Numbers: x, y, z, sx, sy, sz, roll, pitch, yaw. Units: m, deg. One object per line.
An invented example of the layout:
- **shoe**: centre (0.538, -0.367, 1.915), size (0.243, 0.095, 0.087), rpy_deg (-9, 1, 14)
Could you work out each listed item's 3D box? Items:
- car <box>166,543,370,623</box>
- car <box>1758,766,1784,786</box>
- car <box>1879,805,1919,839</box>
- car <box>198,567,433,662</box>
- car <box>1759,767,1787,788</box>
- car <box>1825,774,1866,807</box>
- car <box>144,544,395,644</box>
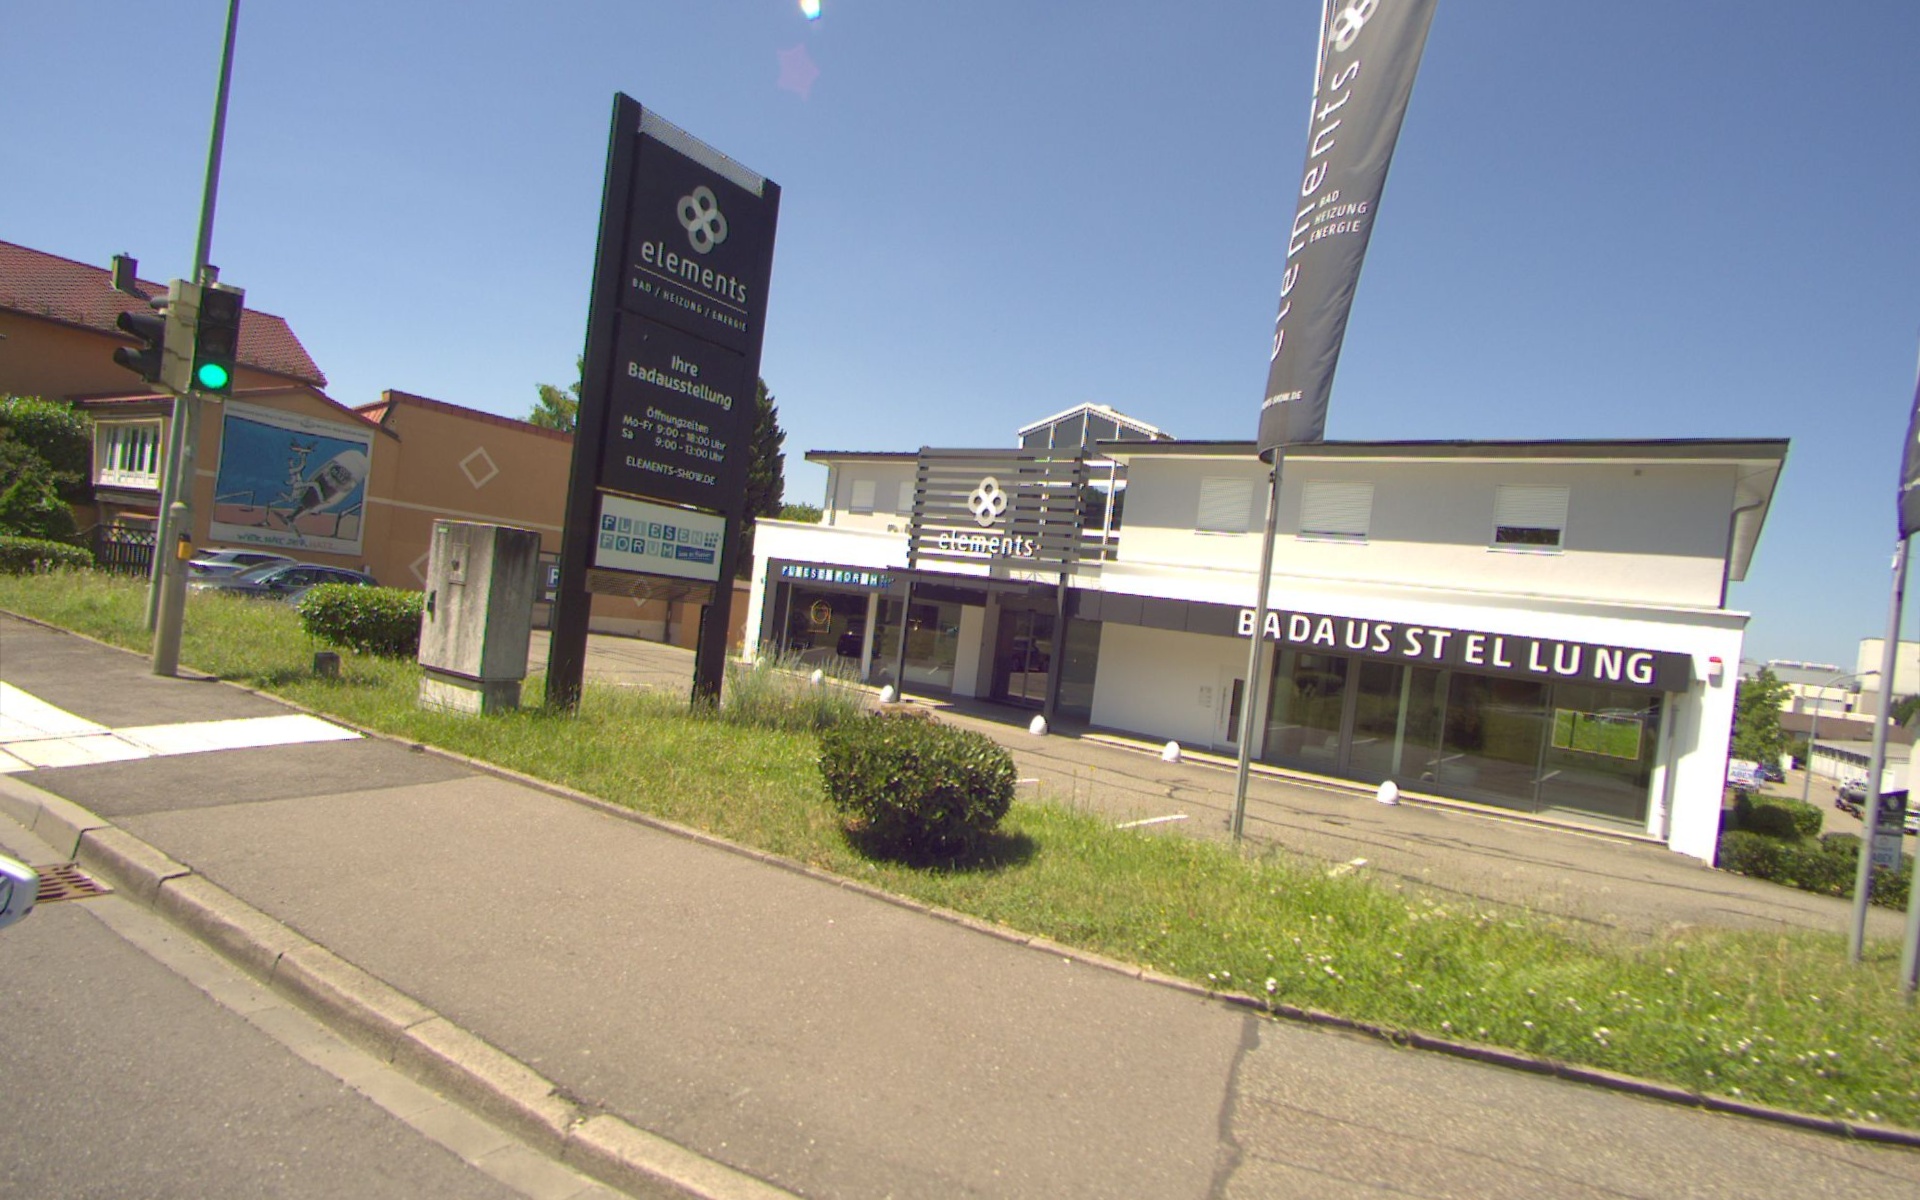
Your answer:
- **car**: centre (-19.211, -0.424, 28.086), size (1.862, 1.618, 4.258), rpy_deg (8, -1, 39)
- **car**: centre (89.006, 19.287, 110.457), size (1.928, 1.736, 3.525), rpy_deg (8, -2, 37)
- **car**: centre (55.748, 13.116, 59.442), size (1.739, 1.482, 3.909), rpy_deg (8, -2, 39)
- **car**: centre (-13.223, 0.339, 20.802), size (1.672, 1.433, 3.623), rpy_deg (8, -2, 37)
- **car**: centre (85.946, 18.704, 106.400), size (1.928, 1.736, 3.525), rpy_deg (8, -2, 37)
- **car**: centre (64.941, 13.950, 73.819), size (1.858, 1.870, 3.987), rpy_deg (8, -2, 39)
- **car**: centre (-15.792, -0.076, 23.248), size (1.859, 1.665, 4.278), rpy_deg (8, -2, 34)
